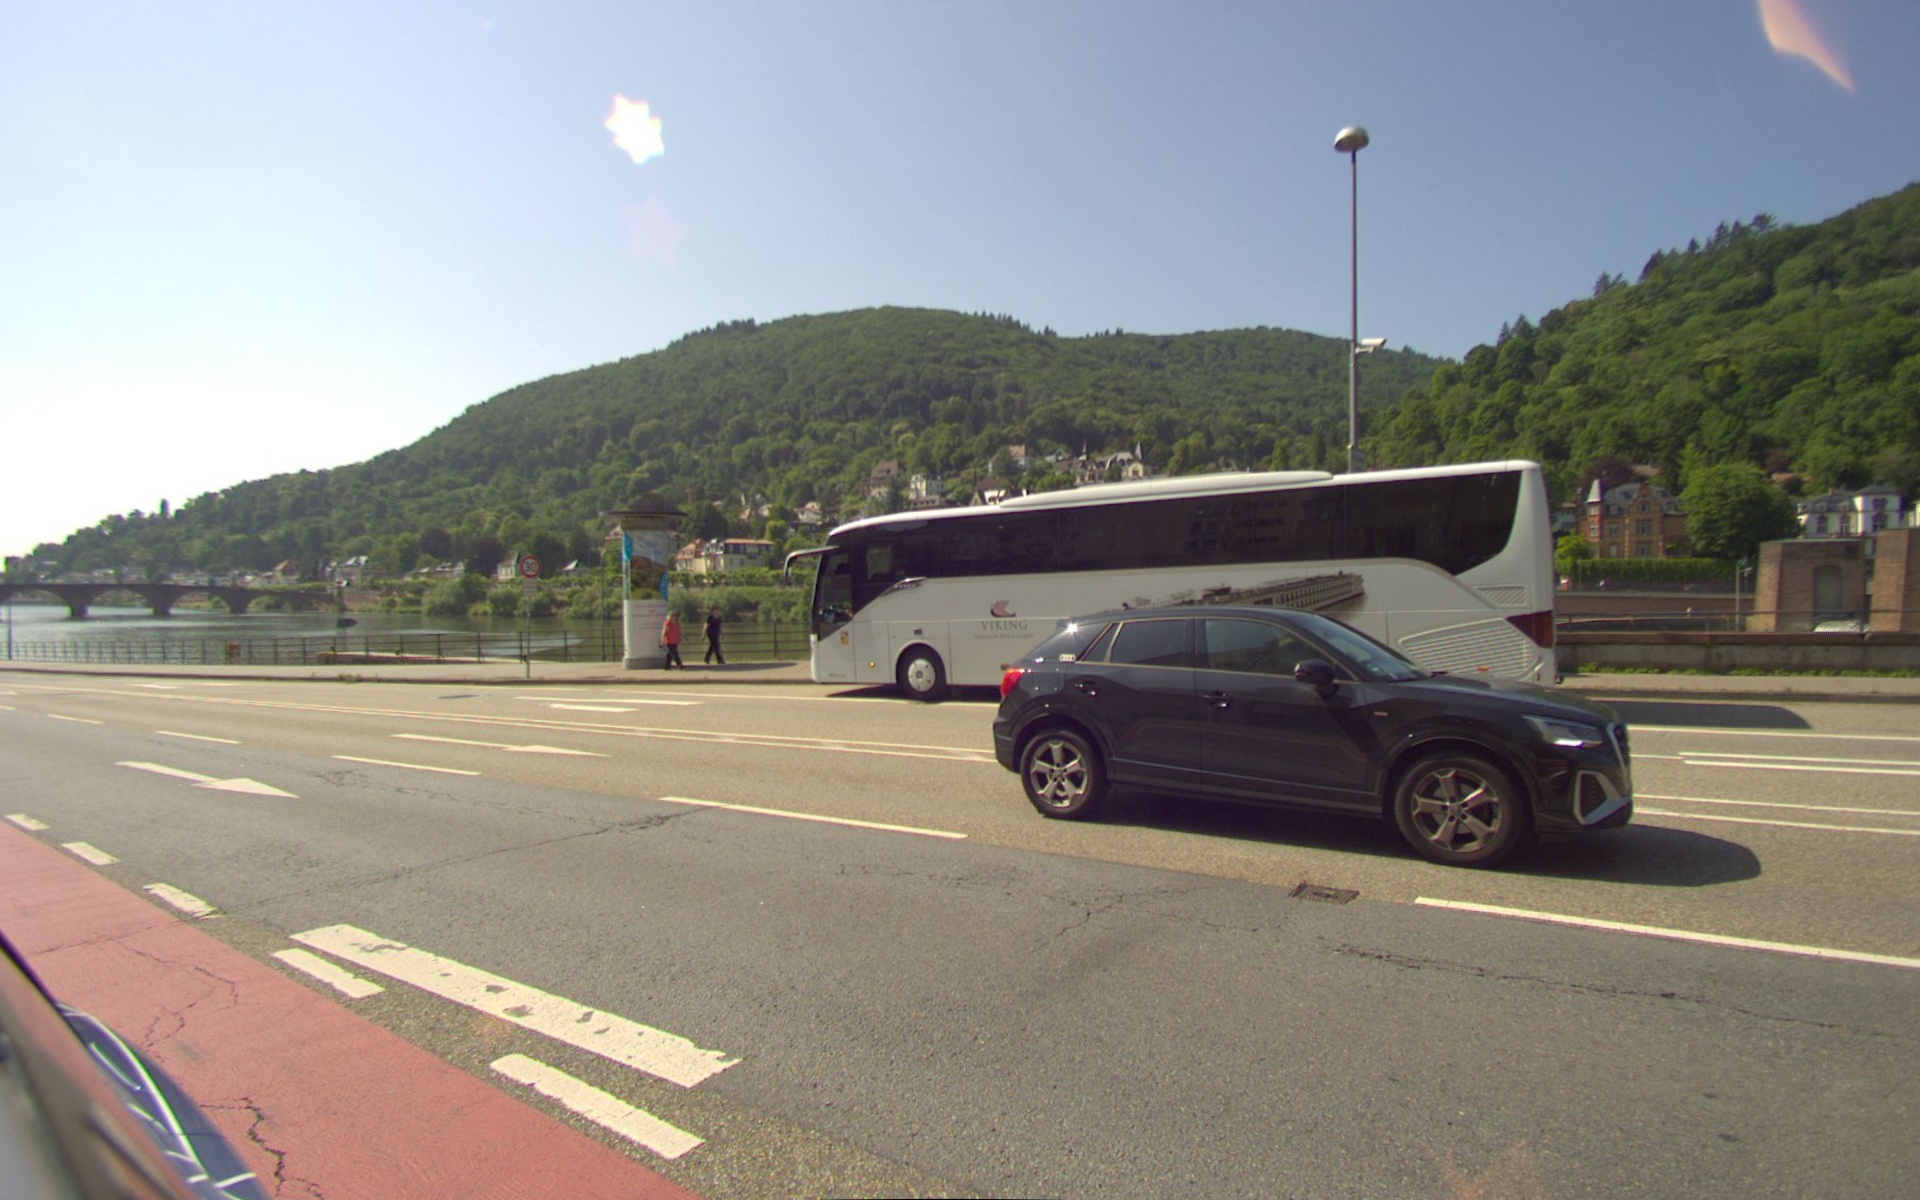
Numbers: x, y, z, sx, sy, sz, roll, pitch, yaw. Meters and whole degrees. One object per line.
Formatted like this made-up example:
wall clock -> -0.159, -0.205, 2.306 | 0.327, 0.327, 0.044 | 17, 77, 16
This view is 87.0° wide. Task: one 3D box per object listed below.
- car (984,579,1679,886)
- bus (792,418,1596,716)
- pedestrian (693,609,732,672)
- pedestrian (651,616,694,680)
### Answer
car -> 2.401, 0.697, 7.005 | 4.141, 1.525, 1.853 | -1, -1, 35
bus -> 3.194, -0.273, 17.687 | 13.194, 3.828, 2.936 | -2, 2, 31
pedestrian -> -6.856, 1.110, 28.061 | 0.767, 1.722, 0.680 | -1, -1, 20
pedestrian -> -7.514, 1.234, 26.485 | 0.812, 1.633, 0.699 | -1, -1, 26
